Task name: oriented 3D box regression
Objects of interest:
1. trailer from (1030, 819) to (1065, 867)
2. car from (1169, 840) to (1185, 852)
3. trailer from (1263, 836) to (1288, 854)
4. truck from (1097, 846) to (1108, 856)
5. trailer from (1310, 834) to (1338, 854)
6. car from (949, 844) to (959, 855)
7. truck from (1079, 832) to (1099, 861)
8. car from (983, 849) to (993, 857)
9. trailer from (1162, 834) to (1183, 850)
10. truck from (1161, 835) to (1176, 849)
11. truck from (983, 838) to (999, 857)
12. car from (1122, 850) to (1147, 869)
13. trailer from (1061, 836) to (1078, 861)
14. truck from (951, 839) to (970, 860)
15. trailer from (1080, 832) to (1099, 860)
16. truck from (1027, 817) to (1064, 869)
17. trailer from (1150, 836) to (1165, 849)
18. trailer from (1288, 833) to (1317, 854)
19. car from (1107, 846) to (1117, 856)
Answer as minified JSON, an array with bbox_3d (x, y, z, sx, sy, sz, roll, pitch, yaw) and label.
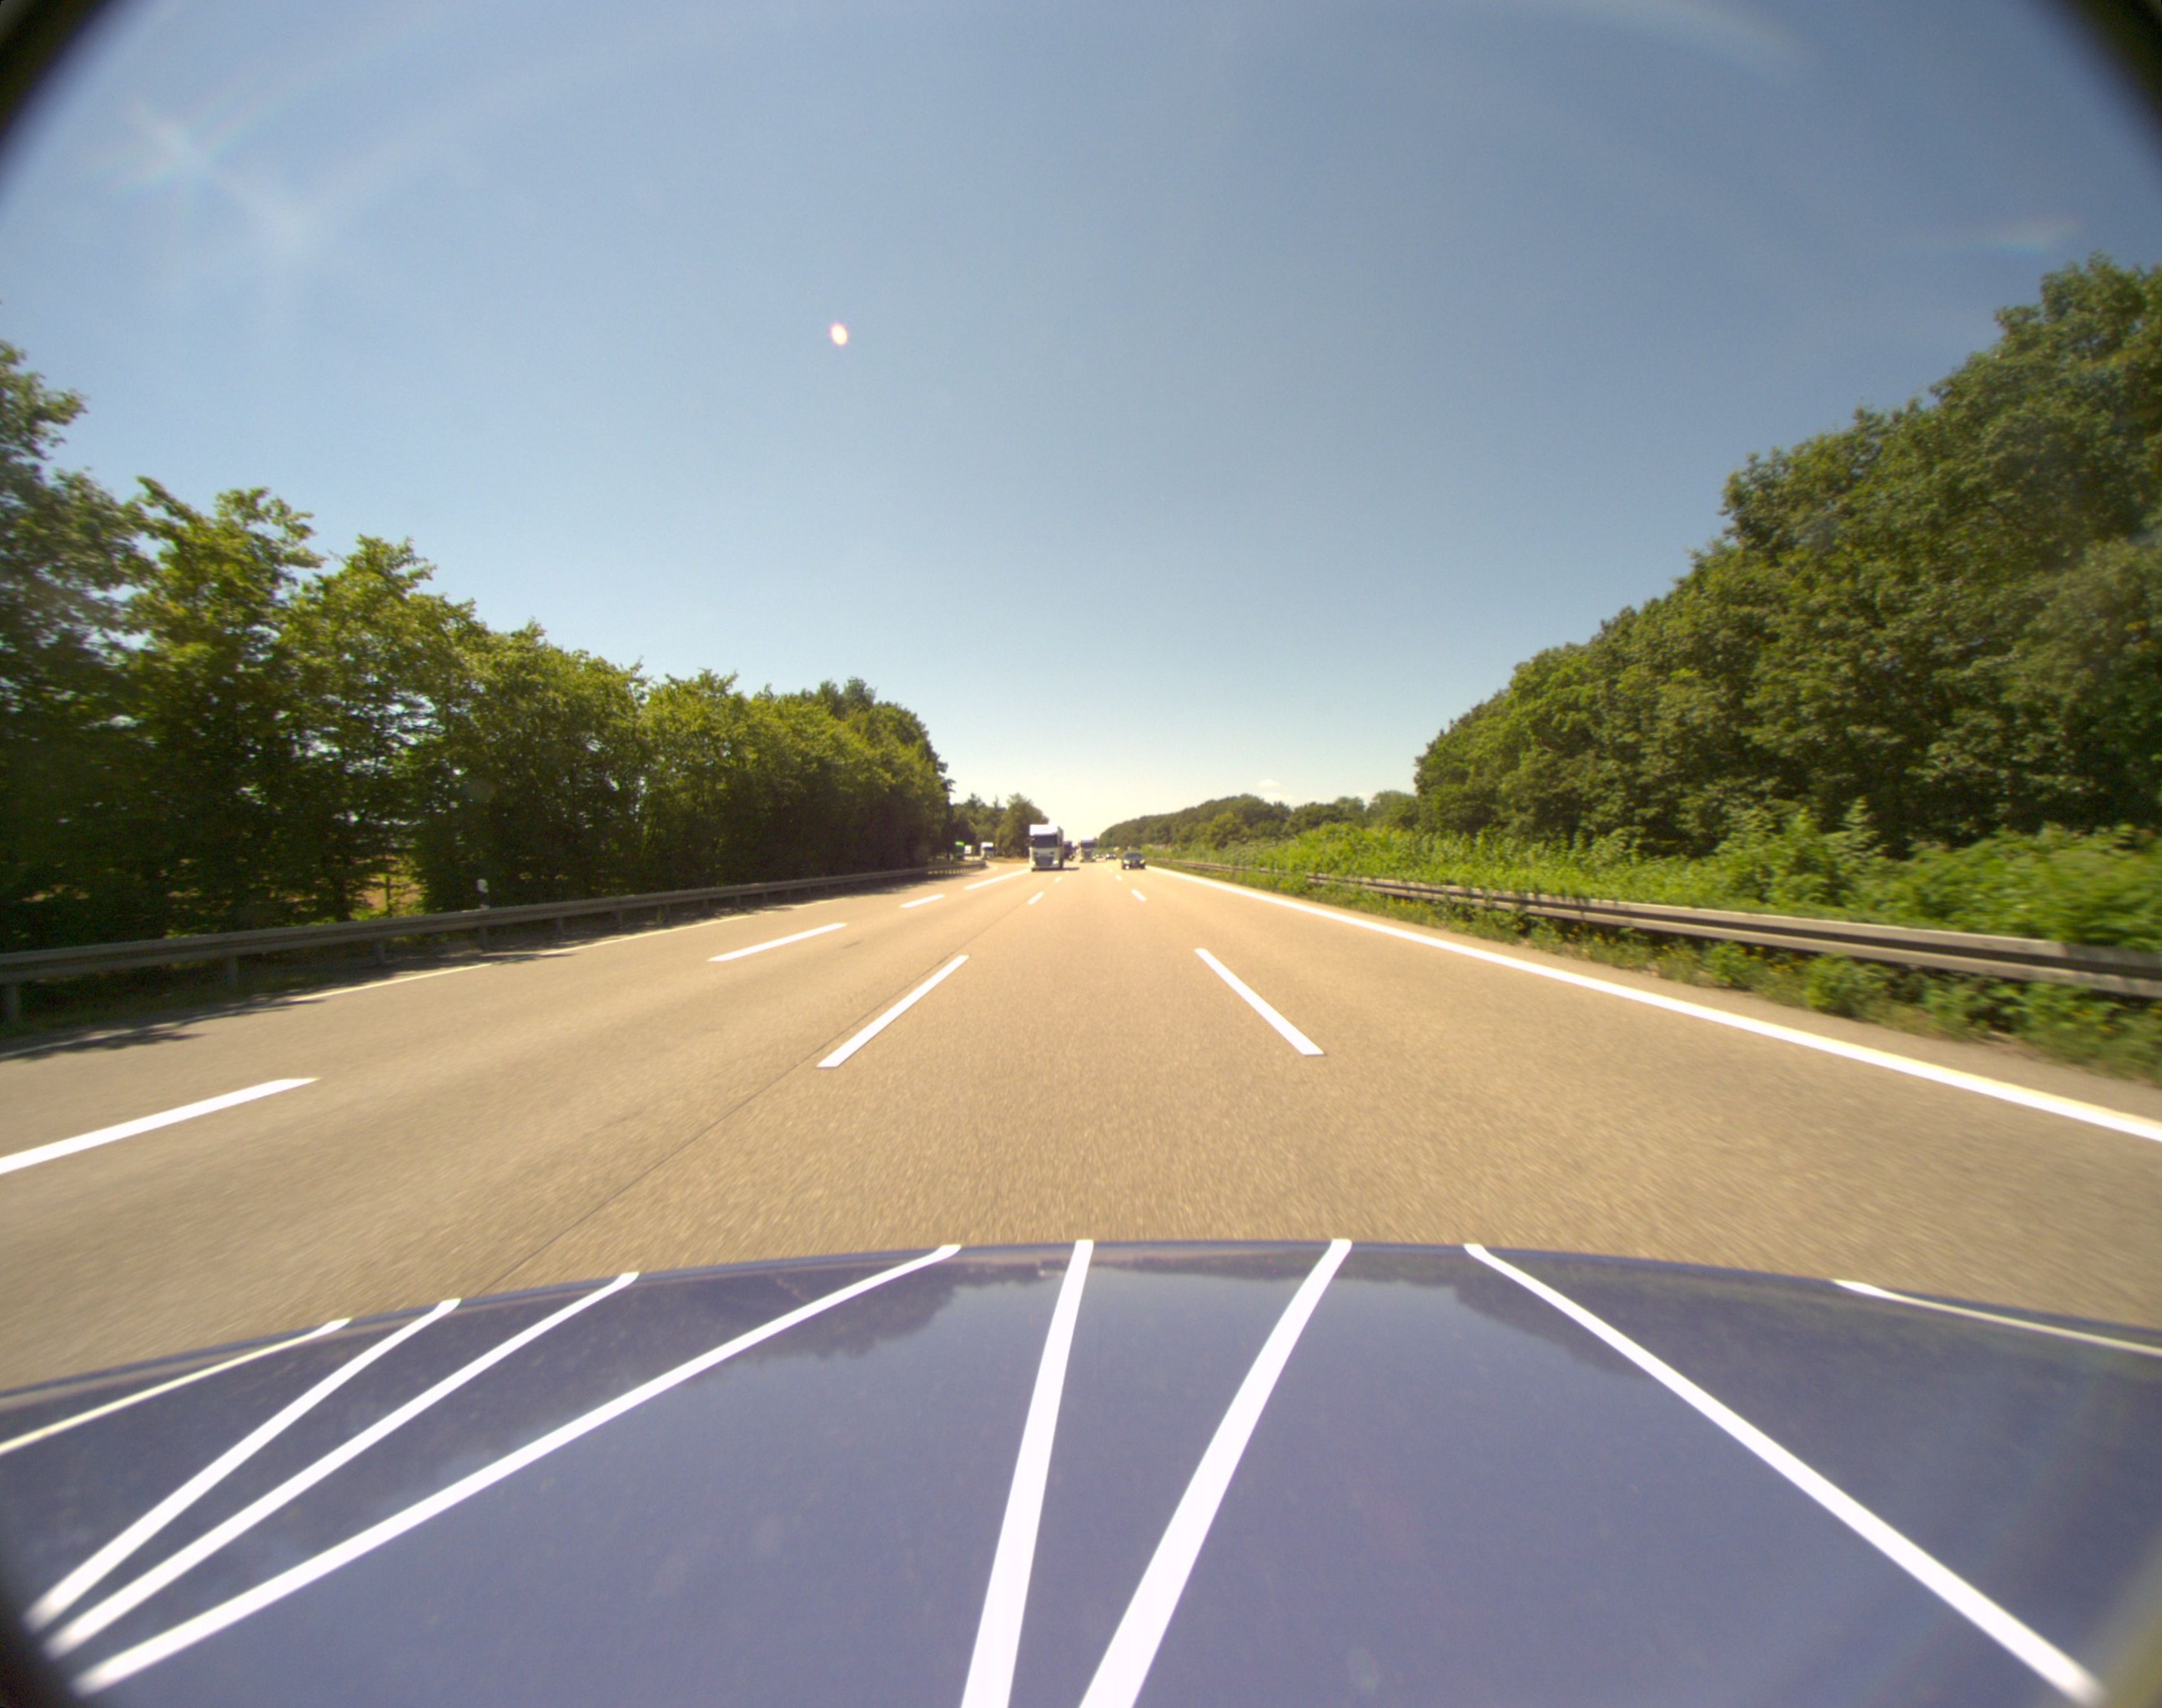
[{"bbox_3d":[-3.168,-1.060,76.583,2.863,4.247,14.977,-2,1,0],"label":"trailer"},{"bbox_3d":[18.301,-1.537,145.299,2.151,2.043,6.633,-2,1,1],"label":"car"},{"bbox_3d":[51.466,-2.331,201.463,3.609,4.565,14.023,0,0,2],"label":"trailer"},{"bbox_3d":[5.145,-0.769,184.756,2.576,2.461,5.614,-2,1,0],"label":"truck"},{"bbox_3d":[58.257,-2.292,182.507,3.608,4.565,14.028,0,0,6],"label":"trailer"},{"bbox_3d":[-30.211,-0.999,180.417,2.315,2.568,6.642,1,0,-10],"label":"car"},{"bbox_3d":[1.264,-1.197,117.478,2.863,4.247,5.410,-2,1,0],"label":"truck"},{"bbox_3d":[-21.604,-0.289,177.242,1.999,1.700,4.677,1,0,-3],"label":"car"},{"bbox_3d":[22.655,-2.978,188.914,3.206,3.559,15.966,-2,1,1],"label":"trailer"},{"bbox_3d":[22.790,-3.084,198.709,3.206,3.559,6.995,-2,1,1],"label":"truck"},{"bbox_3d":[-22.360,-1.499,188.021,3.395,4.437,7.382,-2,1,-10],"label":"truck"},{"bbox_3d":[4.437,0.418,63.488,1.811,1.399,3.999,-3,1,0],"label":"car"},{"bbox_3d":[-2.102,-0.931,139.667,2.863,4.247,11.470,-1,0,0],"label":"trailer"},{"bbox_3d":[-25.543,-1.024,160.576,3.395,4.234,6.609,-2,1,-12],"label":"truck"},{"bbox_3d":[1.307,-1.265,123.946,2.863,4.247,11.470,-2,1,0],"label":"trailer"},{"bbox_3d":[-3.096,-0.970,67.503,2.863,4.247,6.862,-2,1,-1],"label":"truck"},{"bbox_3d":[23.280,-3.432,232.584,3.206,3.803,14.022,-2,1,1],"label":"trailer"},{"bbox_3d":[46.191,-2.221,159.264,3.222,4.112,14.055,-2,1,6],"label":"trailer"},{"bbox_3d":[5.513,-0.542,135.741,1.806,1.774,3.999,-1,1,1],"label":"car"}]
